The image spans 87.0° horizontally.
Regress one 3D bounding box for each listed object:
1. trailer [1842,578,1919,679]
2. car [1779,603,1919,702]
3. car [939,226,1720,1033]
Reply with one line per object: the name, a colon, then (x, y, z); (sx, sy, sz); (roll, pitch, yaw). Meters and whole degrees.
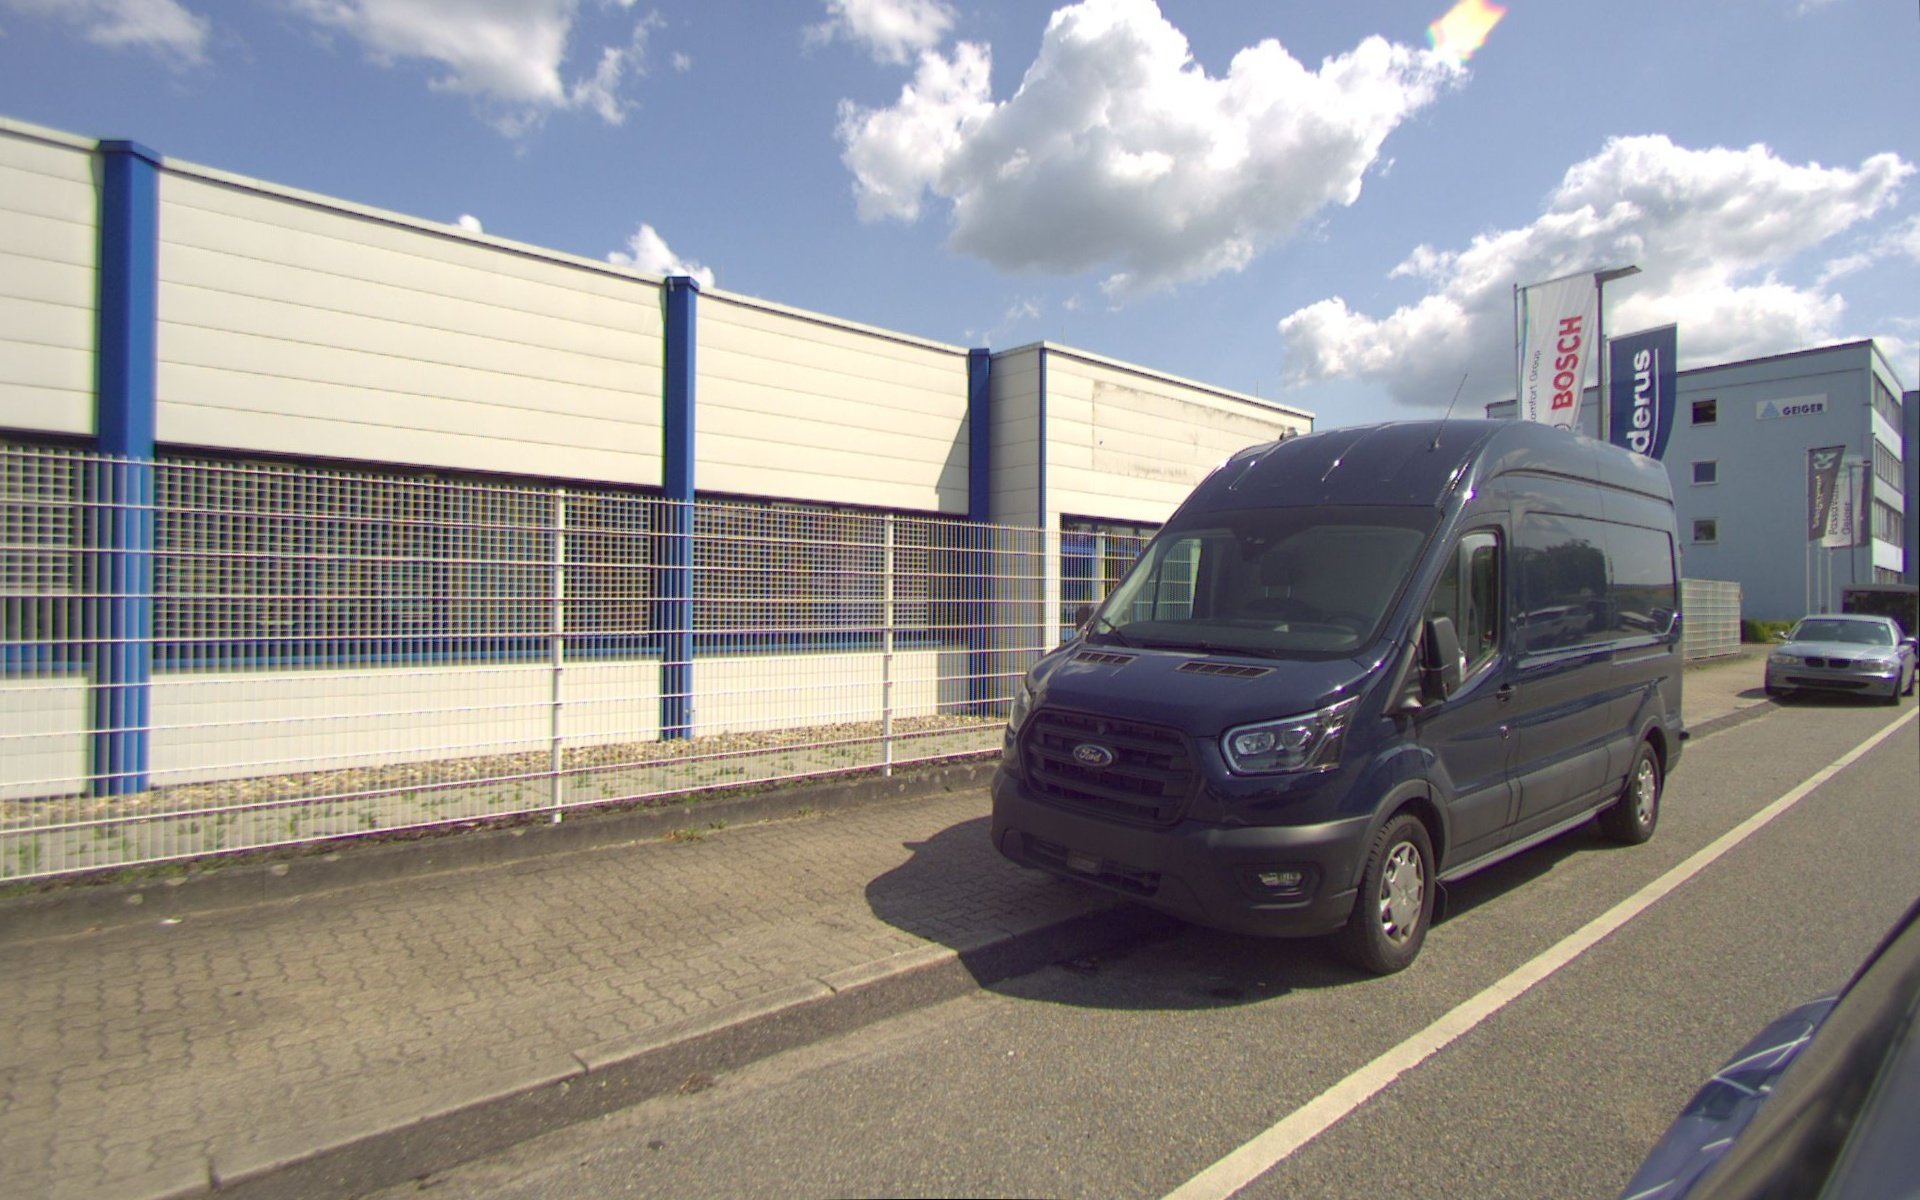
trailer: (20.391, 0.603, 21.906); (2.694, 2.063, 1.603); (1, -2, -42)
car: (15.521, 0.815, 17.439); (4.062, 1.527, 1.574); (0, -1, -42)
car: (2.791, 0.111, 6.253); (6.048, 2.783, 1.940); (1, 0, -42)
